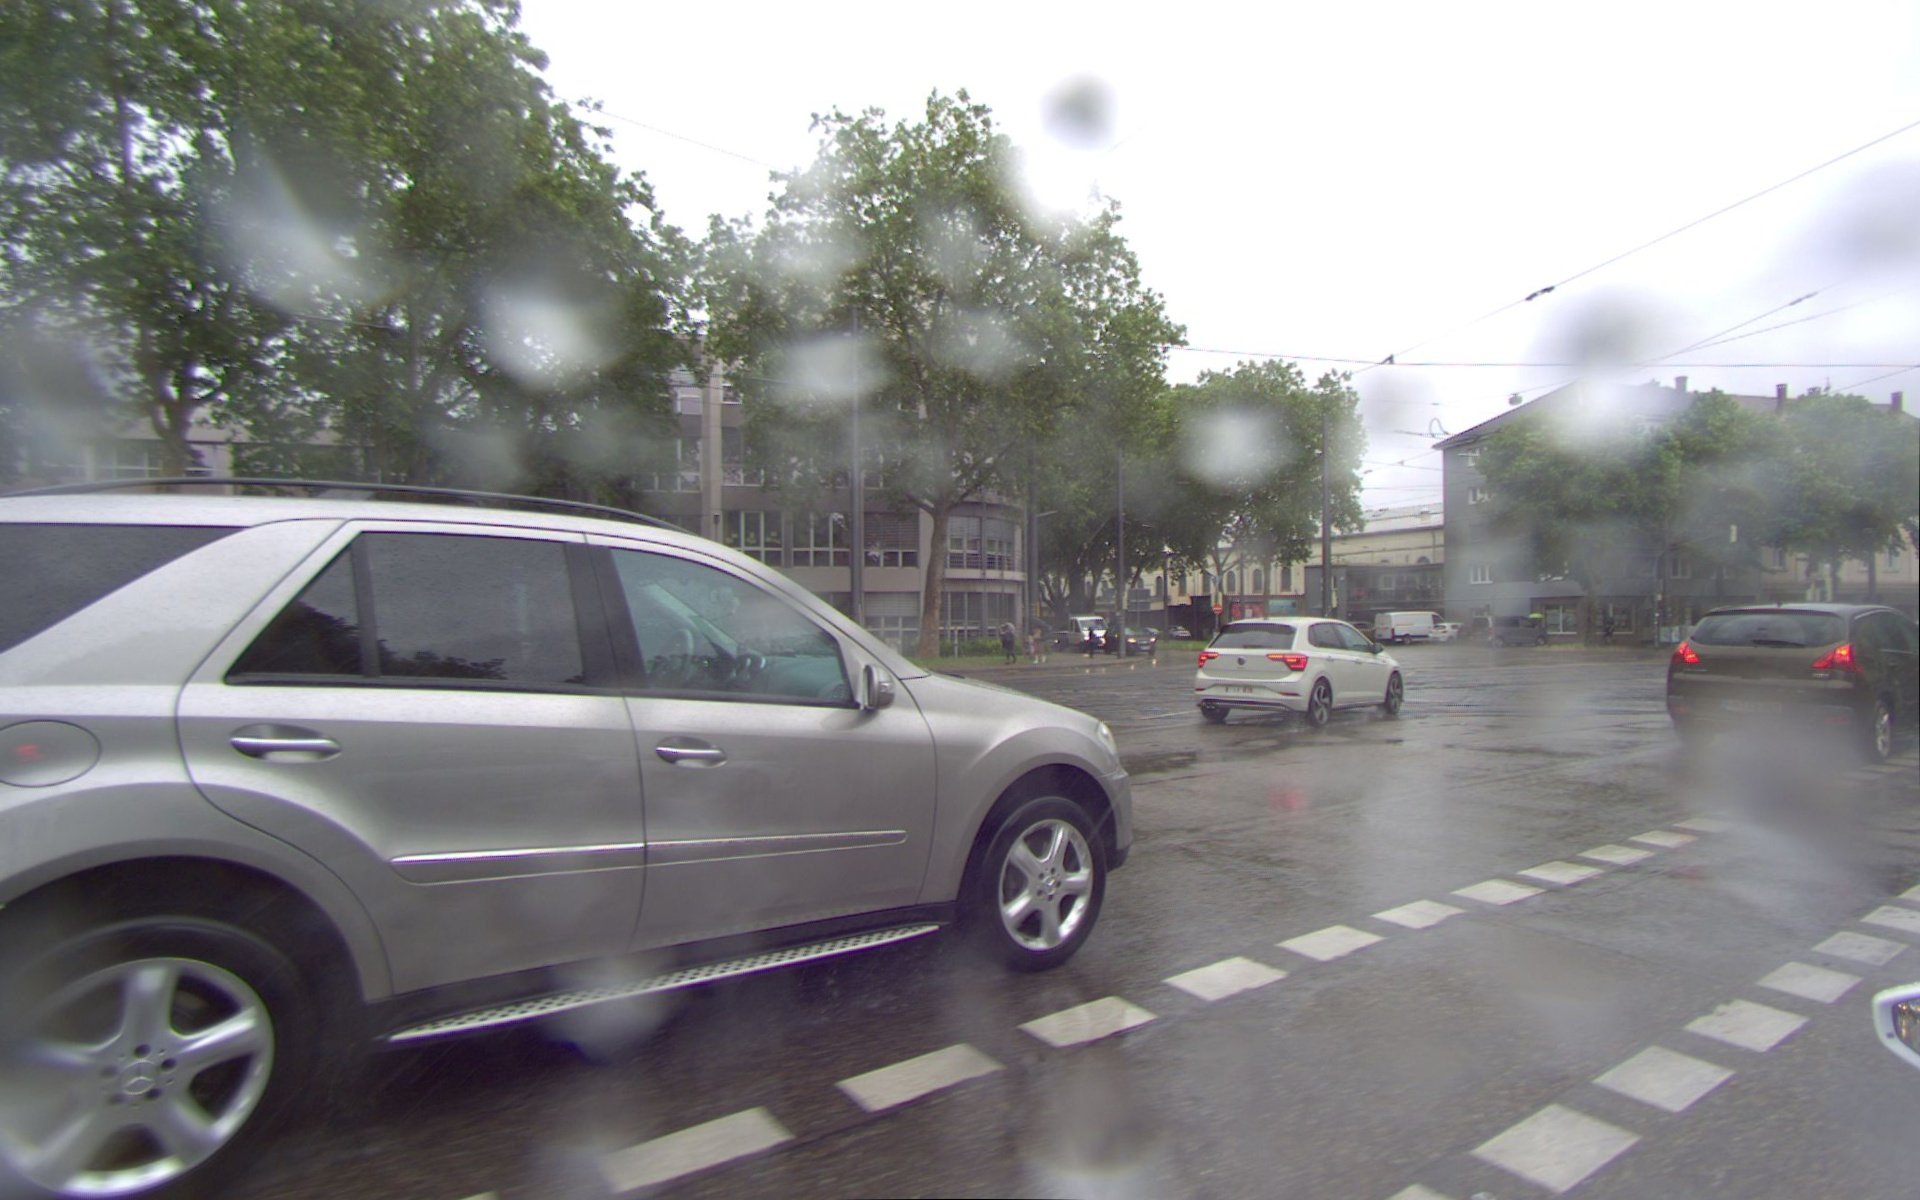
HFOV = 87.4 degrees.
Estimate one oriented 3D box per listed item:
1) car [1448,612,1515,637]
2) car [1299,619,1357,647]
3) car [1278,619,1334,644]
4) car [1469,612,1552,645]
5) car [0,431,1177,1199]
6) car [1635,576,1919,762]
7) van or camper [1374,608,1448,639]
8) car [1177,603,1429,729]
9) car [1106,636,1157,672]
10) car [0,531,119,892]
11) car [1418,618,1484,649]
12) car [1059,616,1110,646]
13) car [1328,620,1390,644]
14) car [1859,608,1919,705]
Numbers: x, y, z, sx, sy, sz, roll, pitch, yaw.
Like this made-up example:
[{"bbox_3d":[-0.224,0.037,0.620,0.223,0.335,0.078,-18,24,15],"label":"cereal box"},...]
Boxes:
[{"bbox_3d":[34.942,1.615,67.328,3.943,1.639,1.917,0,-1,-23],"label":"car"},{"bbox_3d":[29.699,2.658,81.111,3.928,2.040,1.996,2,0,-10],"label":"car"},{"bbox_3d":[28.876,2.608,83.853,3.924,1.954,1.998,0,0,-6],"label":"car"},{"bbox_3d":[35.099,1.789,64.133,4.318,2.040,2.064,0,0,-10],"label":"car"},{"bbox_3d":[-1.412,0.481,3.844,4.638,1.669,1.893,0,0,-38],"label":"car"},{"bbox_3d":[9.522,0.642,11.163,4.142,1.732,1.792,0,0,-31],"label":"car"},{"bbox_3d":[32.116,1.676,71.538,4.579,2.102,1.993,1,-1,-17],"label":"van or camper"},{"bbox_3d":[5.041,0.842,14.456,1.788,1.557,4.164,-1,-1,45],"label":"car"},{"bbox_3d":[9.689,3.001,56.899,1.770,1.795,3.996,-2,0,-7],"label":"car"},{"bbox_3d":[-6.161,0.505,4.144,4.037,1.608,1.788,0,-1,-38],"label":"car"},{"bbox_3d":[33.871,2.298,69.260,3.943,2.040,1.989,0,-1,-23],"label":"car"},{"bbox_3d":[7.842,1.932,63.720,1.970,1.795,3.990,0,-1,-13],"label":"car"},{"bbox_3d":[30.477,2.444,76.751,3.933,1.635,1.994,2,-1,-15],"label":"car"},{"bbox_3d":[16.338,0.976,16.284,3.796,1.478,1.869,4,-2,-36],"label":"car"}]
